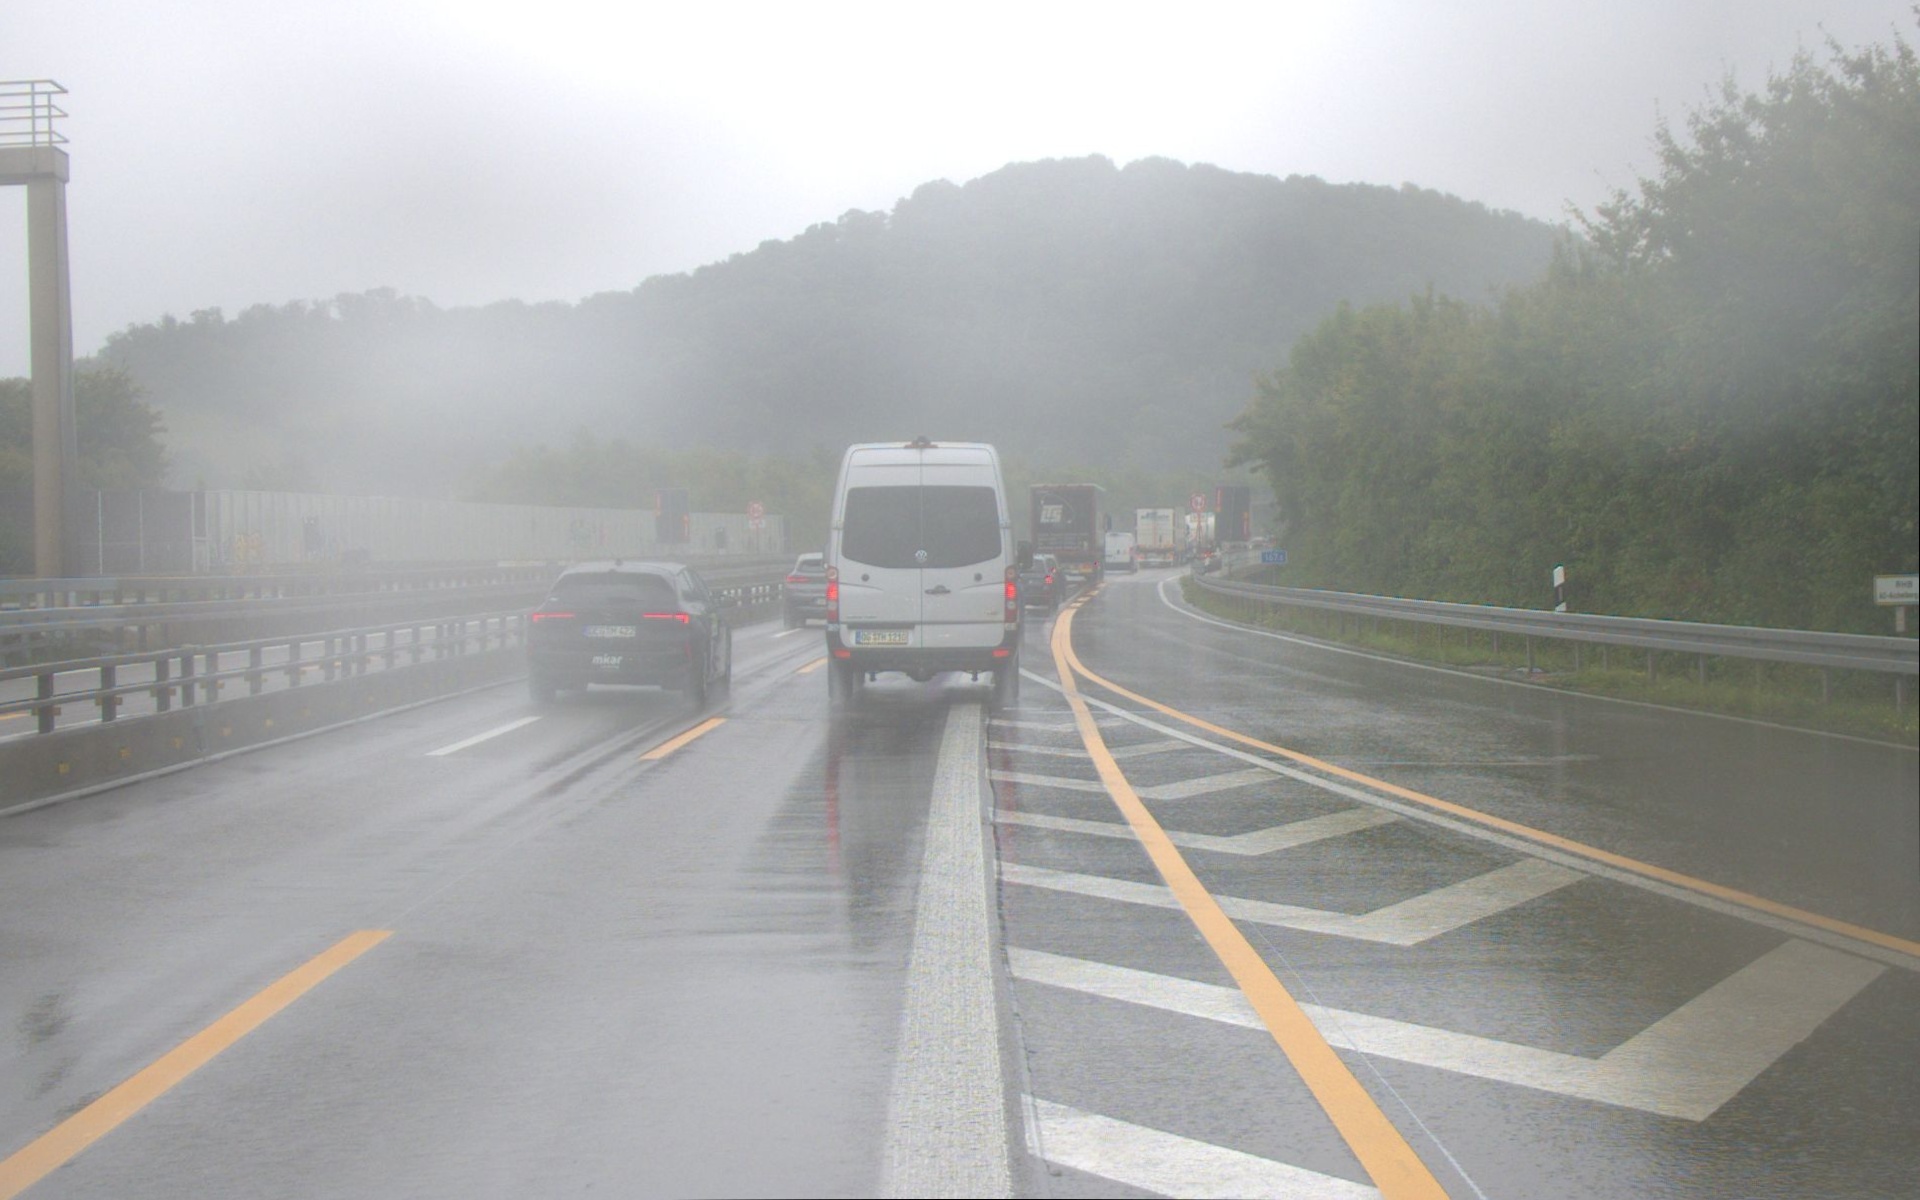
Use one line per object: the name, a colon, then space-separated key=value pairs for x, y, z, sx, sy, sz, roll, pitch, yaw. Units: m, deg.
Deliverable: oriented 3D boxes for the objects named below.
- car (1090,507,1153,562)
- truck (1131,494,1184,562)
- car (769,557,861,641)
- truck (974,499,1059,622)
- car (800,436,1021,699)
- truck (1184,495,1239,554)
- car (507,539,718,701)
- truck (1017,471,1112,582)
car: x=8.862 y=-3.559 z=187.970 sx=2.899 sy=2.877 sz=6.409 roll=1 pitch=1 yaw=8
truck: x=13.102 y=-4.740 z=227.596 sx=3.037 sy=4.391 sz=9.622 roll=1 pitch=1 yaw=6
car: x=-2.913 y=-0.041 z=69.712 sx=1.707 sy=1.622 sz=4.000 roll=1 pitch=1 yaw=-1
truck: x=1.549 y=-1.049 z=91.189 sx=1.994 sy=3.098 sz=8.498 roll=1 pitch=1 yaw=2
car: x=-0.452 y=-0.353 z=36.584 sx=2.145 sy=2.562 sz=5.390 roll=1 pitch=1 yaw=1
truck: x=19.205 y=-5.709 z=262.390 sx=2.900 sy=4.391 sz=9.619 roll=1 pitch=1 yaw=12
car: x=-3.520 y=0.173 z=35.445 sx=1.946 sy=1.556 sz=4.001 roll=1 pitch=1 yaw=-3
truck: x=4.352 y=-2.982 z=141.571 sx=3.582 sy=4.391 sz=9.623 roll=1 pitch=1 yaw=3
